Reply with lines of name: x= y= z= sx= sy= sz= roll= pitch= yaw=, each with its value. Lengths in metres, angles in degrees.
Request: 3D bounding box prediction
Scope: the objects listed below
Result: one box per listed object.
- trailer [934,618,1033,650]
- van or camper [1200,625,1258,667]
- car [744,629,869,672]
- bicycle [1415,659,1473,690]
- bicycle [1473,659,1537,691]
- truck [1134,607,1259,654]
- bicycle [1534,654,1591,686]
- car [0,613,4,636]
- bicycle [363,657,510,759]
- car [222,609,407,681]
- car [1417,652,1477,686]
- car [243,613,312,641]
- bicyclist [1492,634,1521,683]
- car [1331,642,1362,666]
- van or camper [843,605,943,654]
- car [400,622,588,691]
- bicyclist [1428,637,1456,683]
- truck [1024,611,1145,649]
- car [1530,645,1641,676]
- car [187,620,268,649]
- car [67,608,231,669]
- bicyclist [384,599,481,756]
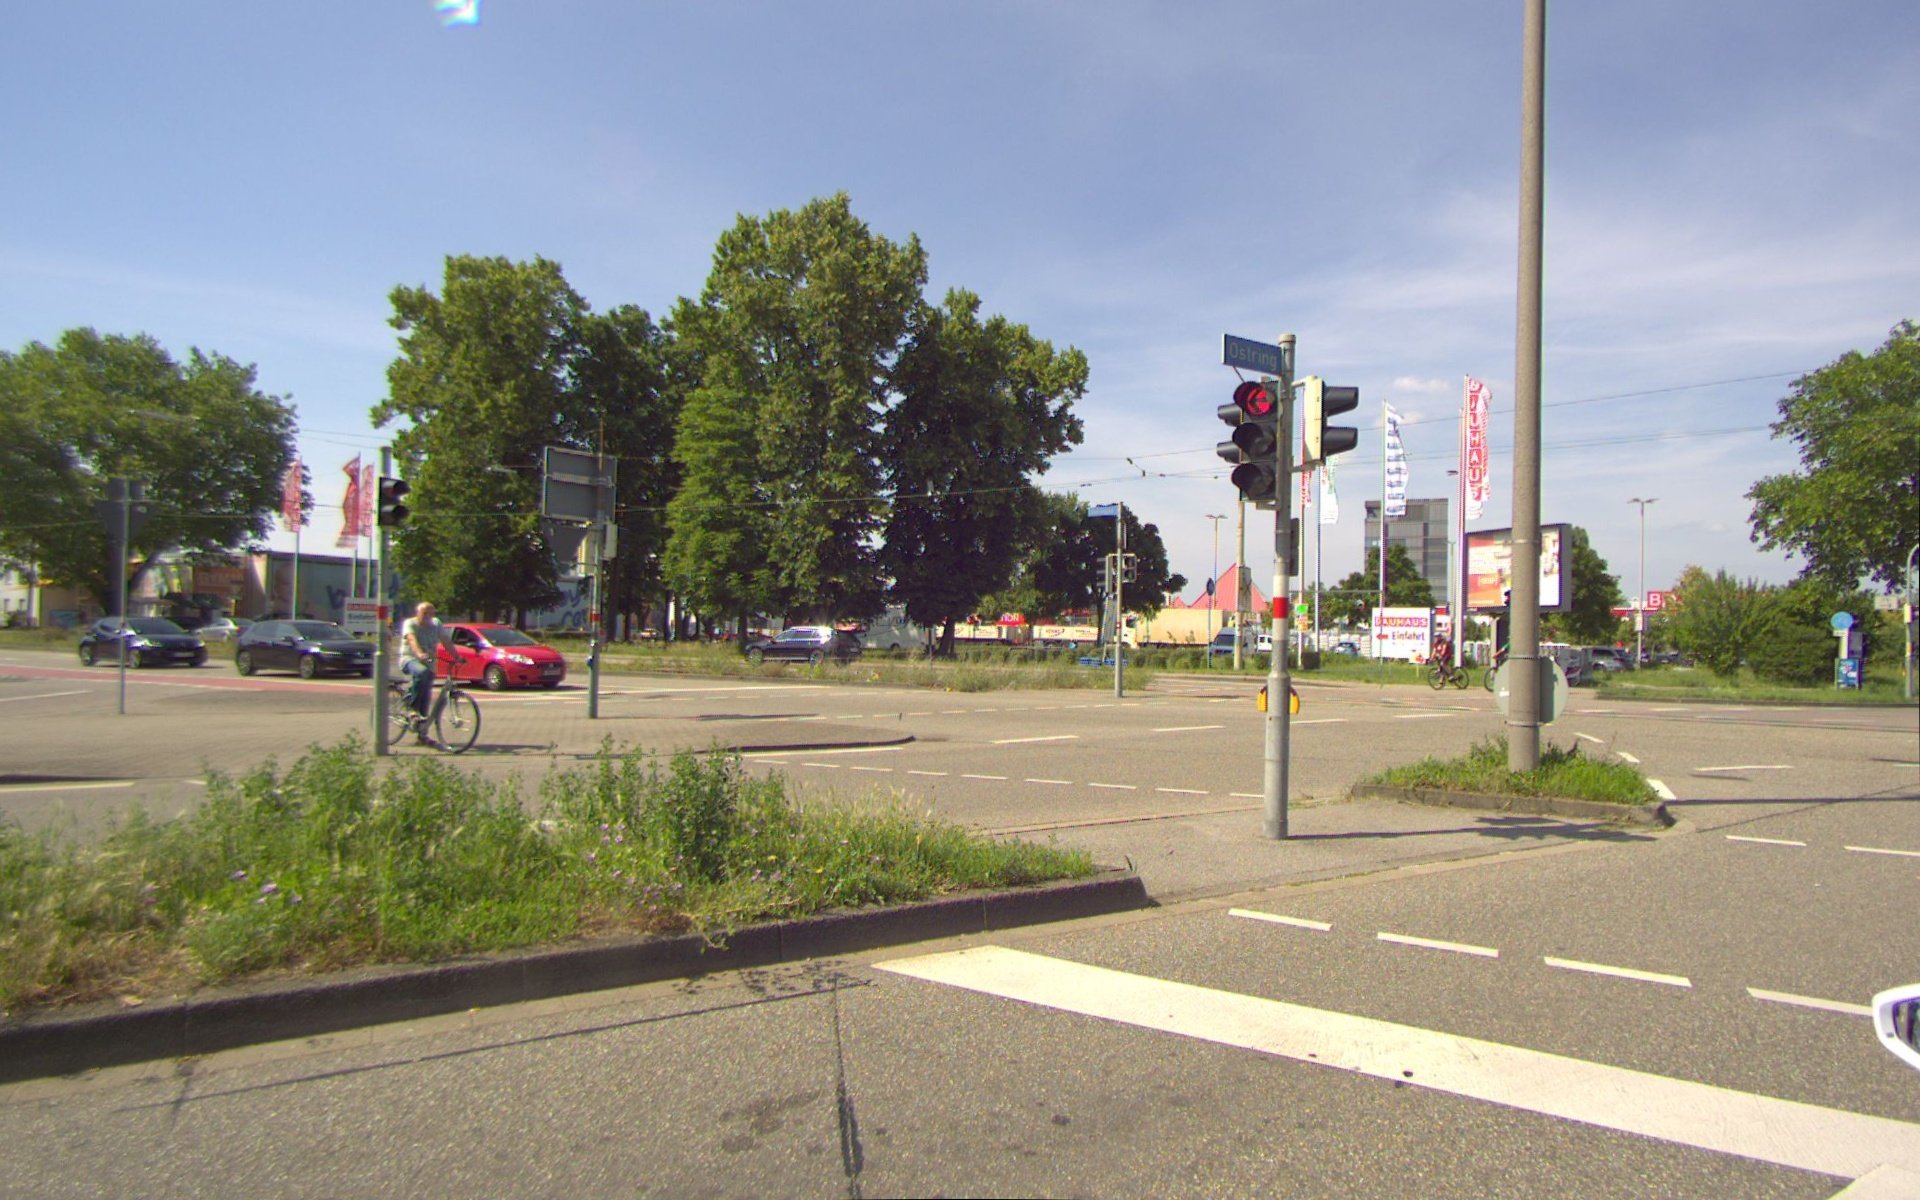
trailer: x=2.022 y=2.900 z=86.625 sx=8.057 sy=2.522 sz=2.924 roll=0 pitch=-2 yaw=26
van or camper: x=15.498 y=2.645 z=57.643 sx=2.155 sy=2.238 sz=5.514 roll=0 pitch=-2 yaw=26
car: x=-5.609 y=1.827 z=36.743 sx=4.137 sy=1.462 sz=1.790 roll=0 pitch=-2 yaw=17
bicycle: x=15.264 y=2.349 z=31.679 sx=1.719 sy=0.950 sz=0.434 roll=2 pitch=-2 yaw=-8
bicycle: x=16.908 y=2.328 z=31.157 sx=1.963 sy=0.950 sz=0.416 roll=2 pitch=-2 yaw=-13
truck: x=17.827 y=2.250 z=75.672 sx=8.753 sy=3.355 sz=3.159 roll=0 pitch=-2 yaw=23
bicycle: x=20.842 y=2.410 z=34.737 sx=1.864 sy=1.051 sz=0.594 roll=2 pitch=-2 yaw=-16
car: x=-63.681 y=1.541 z=64.743 sx=3.788 sy=1.446 sz=1.698 roll=0 pitch=-2 yaw=26
bicycle: x=-6.329 y=1.257 z=12.092 sx=2.128 sy=1.078 sz=0.524 roll=0 pitch=-2 yaw=31
car: x=-16.844 y=1.146 z=26.273 sx=3.920 sy=1.721 sz=2.001 roll=0 pitch=-2 yaw=18
car: x=25.662 y=3.613 z=53.055 sx=2.157 sy=1.593 sz=4.579 roll=1 pitch=-2 yaw=17
car: x=-51.784 y=2.054 z=76.247 sx=1.971 sy=2.040 sz=3.979 roll=0 pitch=-2 yaw=41
bicyclist: x=16.966 y=1.812 z=31.178 sx=0.599 sy=1.511 sz=0.528 roll=2 pitch=-2 yaw=-15
car: x=27.248 y=3.781 z=70.781 sx=1.787 sy=1.593 sz=4.278 roll=0 pitch=-2 yaw=24
van or camper: x=-4.552 y=2.000 z=68.308 sx=6.207 sy=3.141 sz=2.710 roll=1 pitch=-1 yaw=26
car: x=-10.864 y=1.278 z=23.440 sx=3.924 sy=1.468 sz=1.846 roll=0 pitch=-2 yaw=25
bicyclist: x=15.233 y=1.881 z=31.728 sx=0.598 sy=1.432 sz=0.529 roll=1 pitch=-1 yaw=-7
truck: x=10.243 y=2.476 z=82.669 sx=9.431 sy=2.930 sz=2.925 roll=0 pitch=-2 yaw=24
car: x=32.941 y=3.155 z=53.030 sx=2.180 sy=1.432 sz=4.530 roll=3 pitch=-2 yaw=-36
car: x=-39.135 y=1.821 z=53.630 sx=4.379 sy=1.430 sz=1.638 roll=0 pitch=-2 yaw=27
car: x=-24.310 y=1.130 z=30.134 sx=3.921 sy=1.721 sz=2.001 roll=0 pitch=-2 yaw=19
bicyclist: x=-6.348 y=0.907 z=12.108 sx=0.754 sy=1.812 sz=0.704 roll=0 pitch=-2 yaw=31
